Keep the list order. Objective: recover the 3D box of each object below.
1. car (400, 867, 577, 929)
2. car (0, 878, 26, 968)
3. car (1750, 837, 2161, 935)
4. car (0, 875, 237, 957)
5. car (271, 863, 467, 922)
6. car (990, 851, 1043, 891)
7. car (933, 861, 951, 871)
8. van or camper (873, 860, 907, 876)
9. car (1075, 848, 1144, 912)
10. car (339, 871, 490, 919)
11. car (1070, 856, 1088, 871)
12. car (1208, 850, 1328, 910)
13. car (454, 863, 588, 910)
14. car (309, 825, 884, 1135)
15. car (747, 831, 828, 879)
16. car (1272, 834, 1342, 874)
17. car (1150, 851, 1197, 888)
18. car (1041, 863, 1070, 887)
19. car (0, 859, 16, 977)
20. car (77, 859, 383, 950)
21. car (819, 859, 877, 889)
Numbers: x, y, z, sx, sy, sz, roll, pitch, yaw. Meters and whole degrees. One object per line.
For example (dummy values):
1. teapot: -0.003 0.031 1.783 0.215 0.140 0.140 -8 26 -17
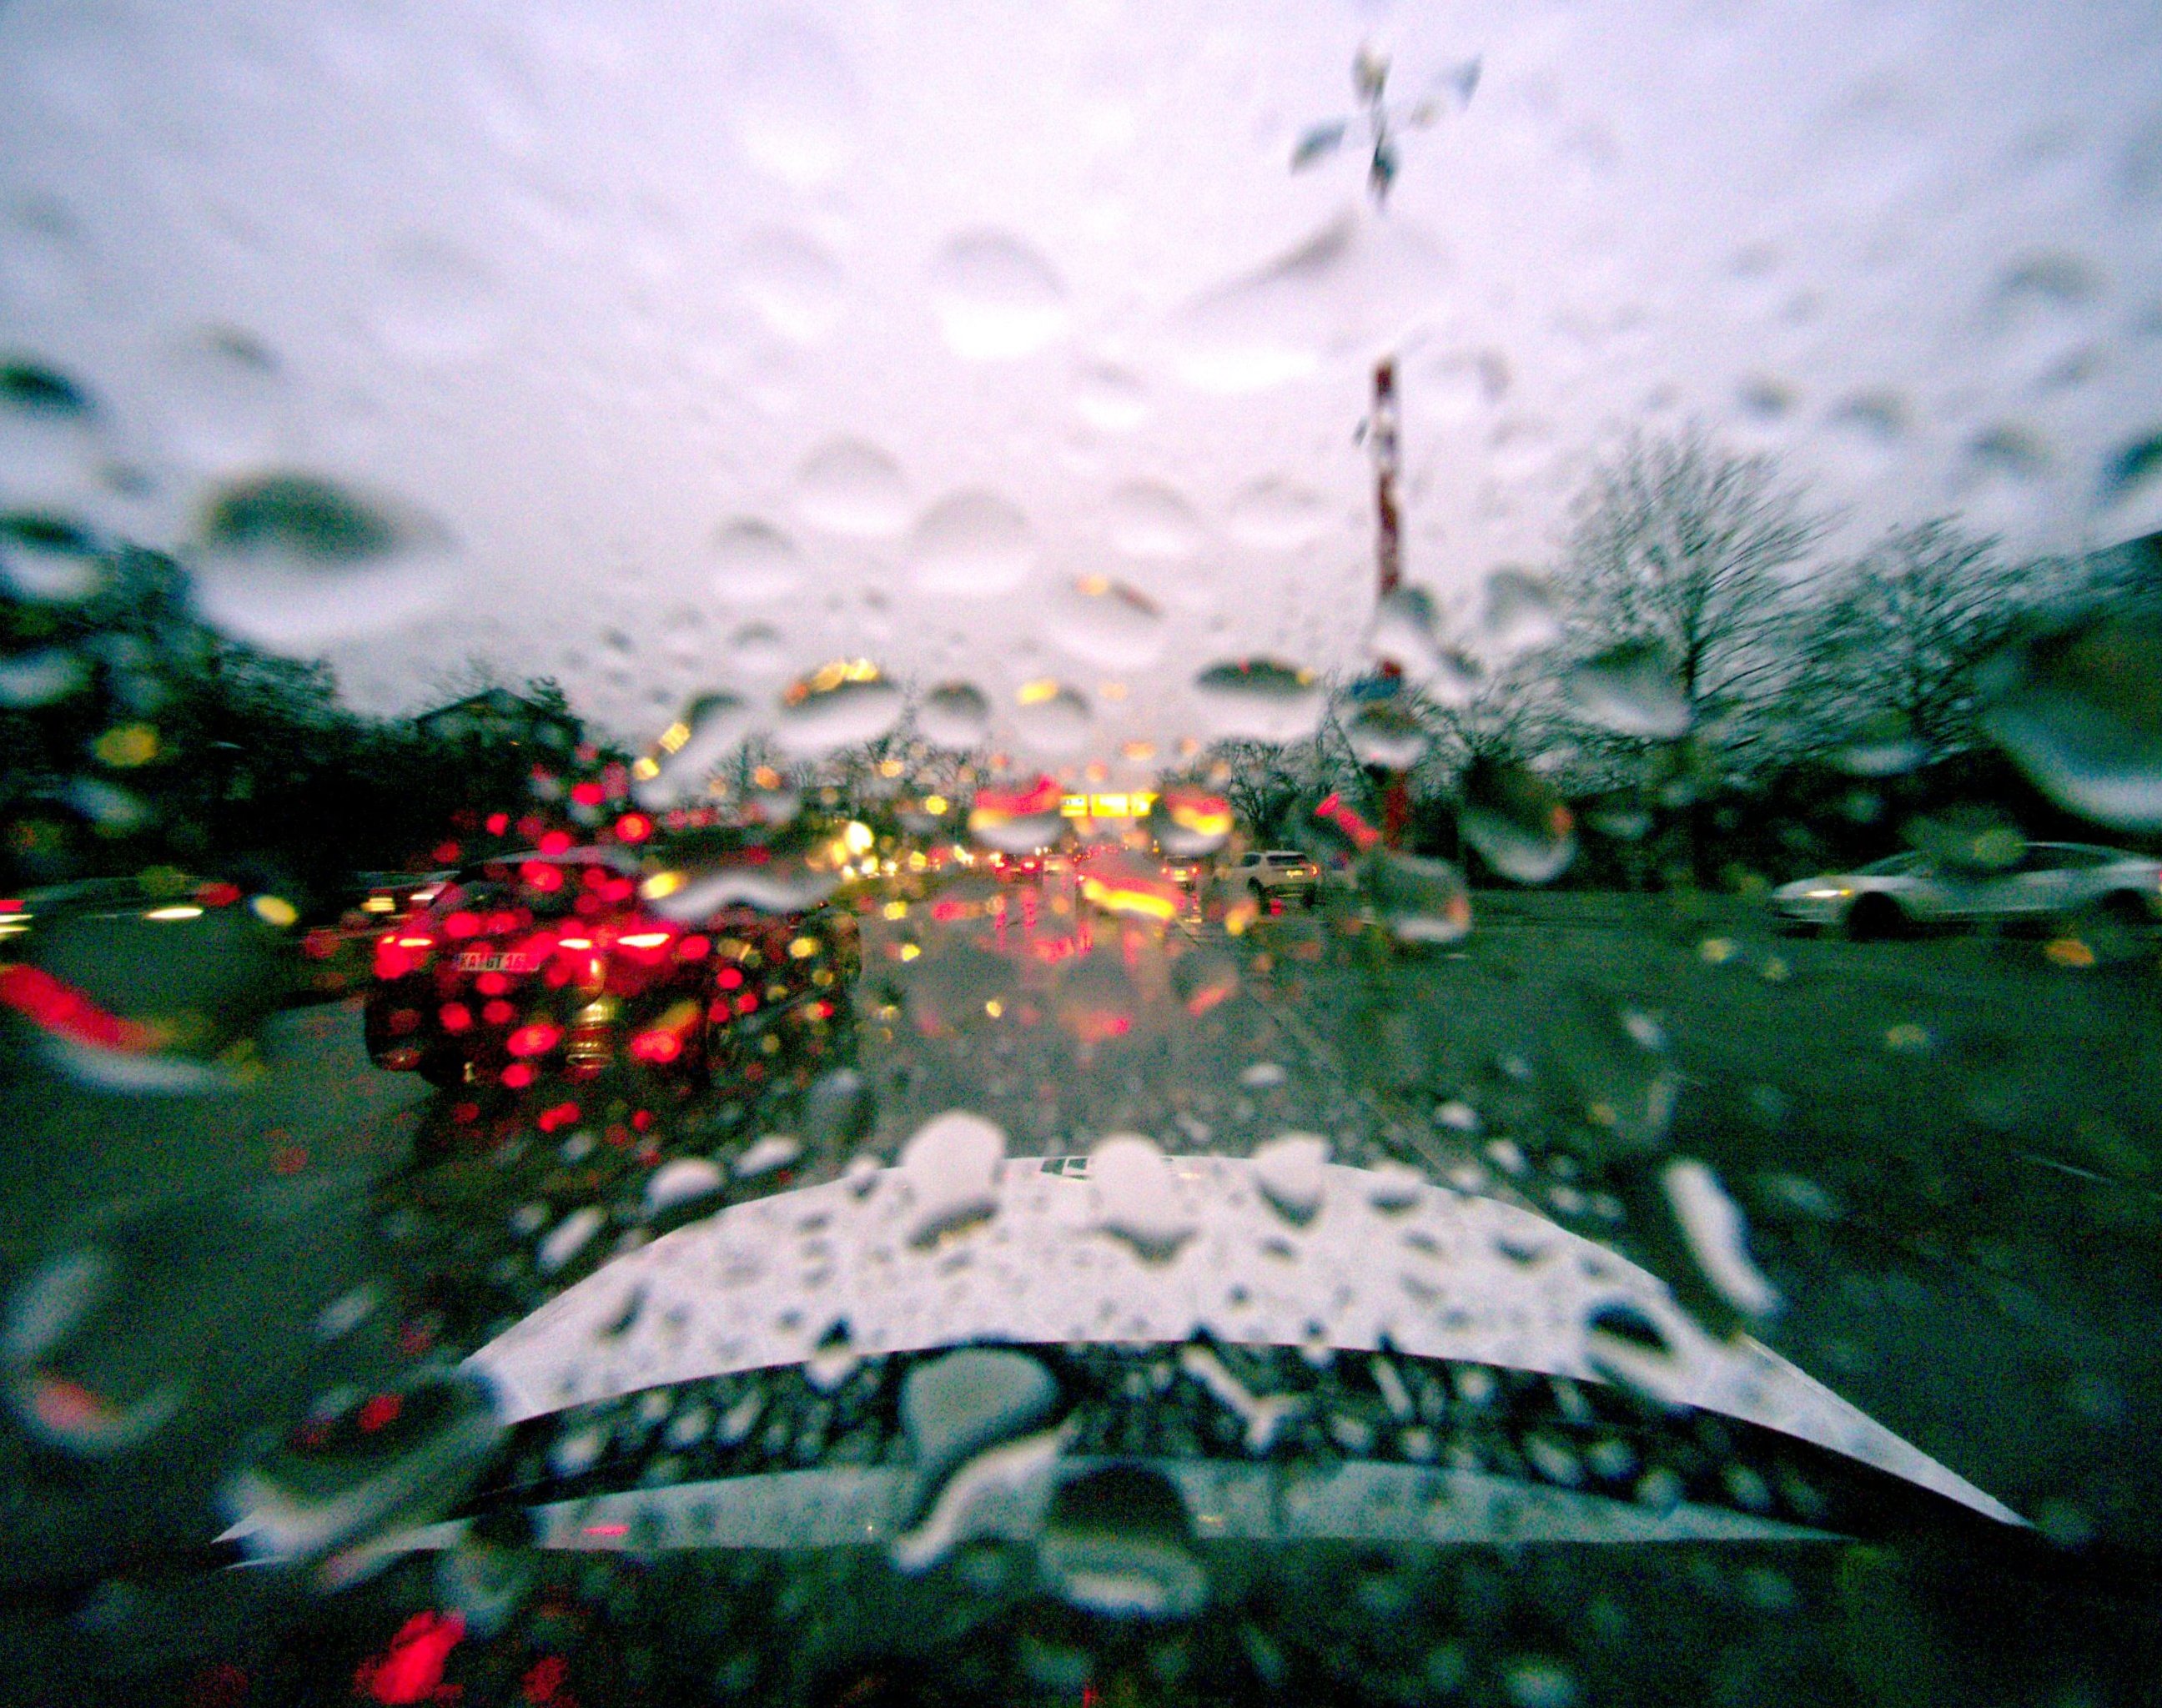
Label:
1. car: -17.178 1.217 23.943 1.763 1.533 4.527 -1 0 2
2. car: -18.042 1.116 11.593 1.646 1.420 3.327 -1 0 1
3. car: 13.880 0.485 12.903 4.700 1.376 1.892 -1 0 19
4. car: -20.920 1.242 17.395 1.615 1.427 3.911 -1 0 2
5. car: -20.765 1.066 24.063 1.763 1.495 4.441 -1 0 2
6. car: -2.791 0.726 36.139 1.815 1.648 4.003 -1 0 3
7. car: -21.895 1.930 128.328 1.985 1.477 4.076 0 0 3
8. van or camper: -18.147 1.346 77.622 1.896 1.446 5.161 0 0 2
9. car: 0.873 0.697 23.933 1.815 1.648 4.469 -1 0 3
10. car: -24.178 1.429 29.806 1.763 1.495 4.441 -1 0 2
11. car: -0.190 0.857 77.202 1.499 1.339 4.003 -1 0 3
12. car: 5.463 0.722 24.393 1.817 1.618 4.392 -1 0 -12
13. car: -20.436 1.127 29.988 1.763 1.495 4.441 -1 0 2
14. car: -3.173 0.695 6.633 1.815 1.648 4.469 -1 0 3
15. car: -19.485 0.127 54.594 2.282 3.005 7.353 0 -1 4
16. car: 10.225 0.015 37.266 1.960 1.619 4.548 -2 0 1
17. car: 4.300 0.726 38.468 1.925 1.648 4.469 0 -1 3
18. car: -1.852 1.492 59.780 1.815 1.648 4.003 -1 0 3
19. car: -15.414 0.879 9.003 1.850 1.582 4.079 -1 0 0
20. car: -17.536 0.945 17.164 1.850 1.598 4.289 -1 0 2
21. car: -13.126 1.095 46.170 1.763 1.536 4.842 -1 0 2
